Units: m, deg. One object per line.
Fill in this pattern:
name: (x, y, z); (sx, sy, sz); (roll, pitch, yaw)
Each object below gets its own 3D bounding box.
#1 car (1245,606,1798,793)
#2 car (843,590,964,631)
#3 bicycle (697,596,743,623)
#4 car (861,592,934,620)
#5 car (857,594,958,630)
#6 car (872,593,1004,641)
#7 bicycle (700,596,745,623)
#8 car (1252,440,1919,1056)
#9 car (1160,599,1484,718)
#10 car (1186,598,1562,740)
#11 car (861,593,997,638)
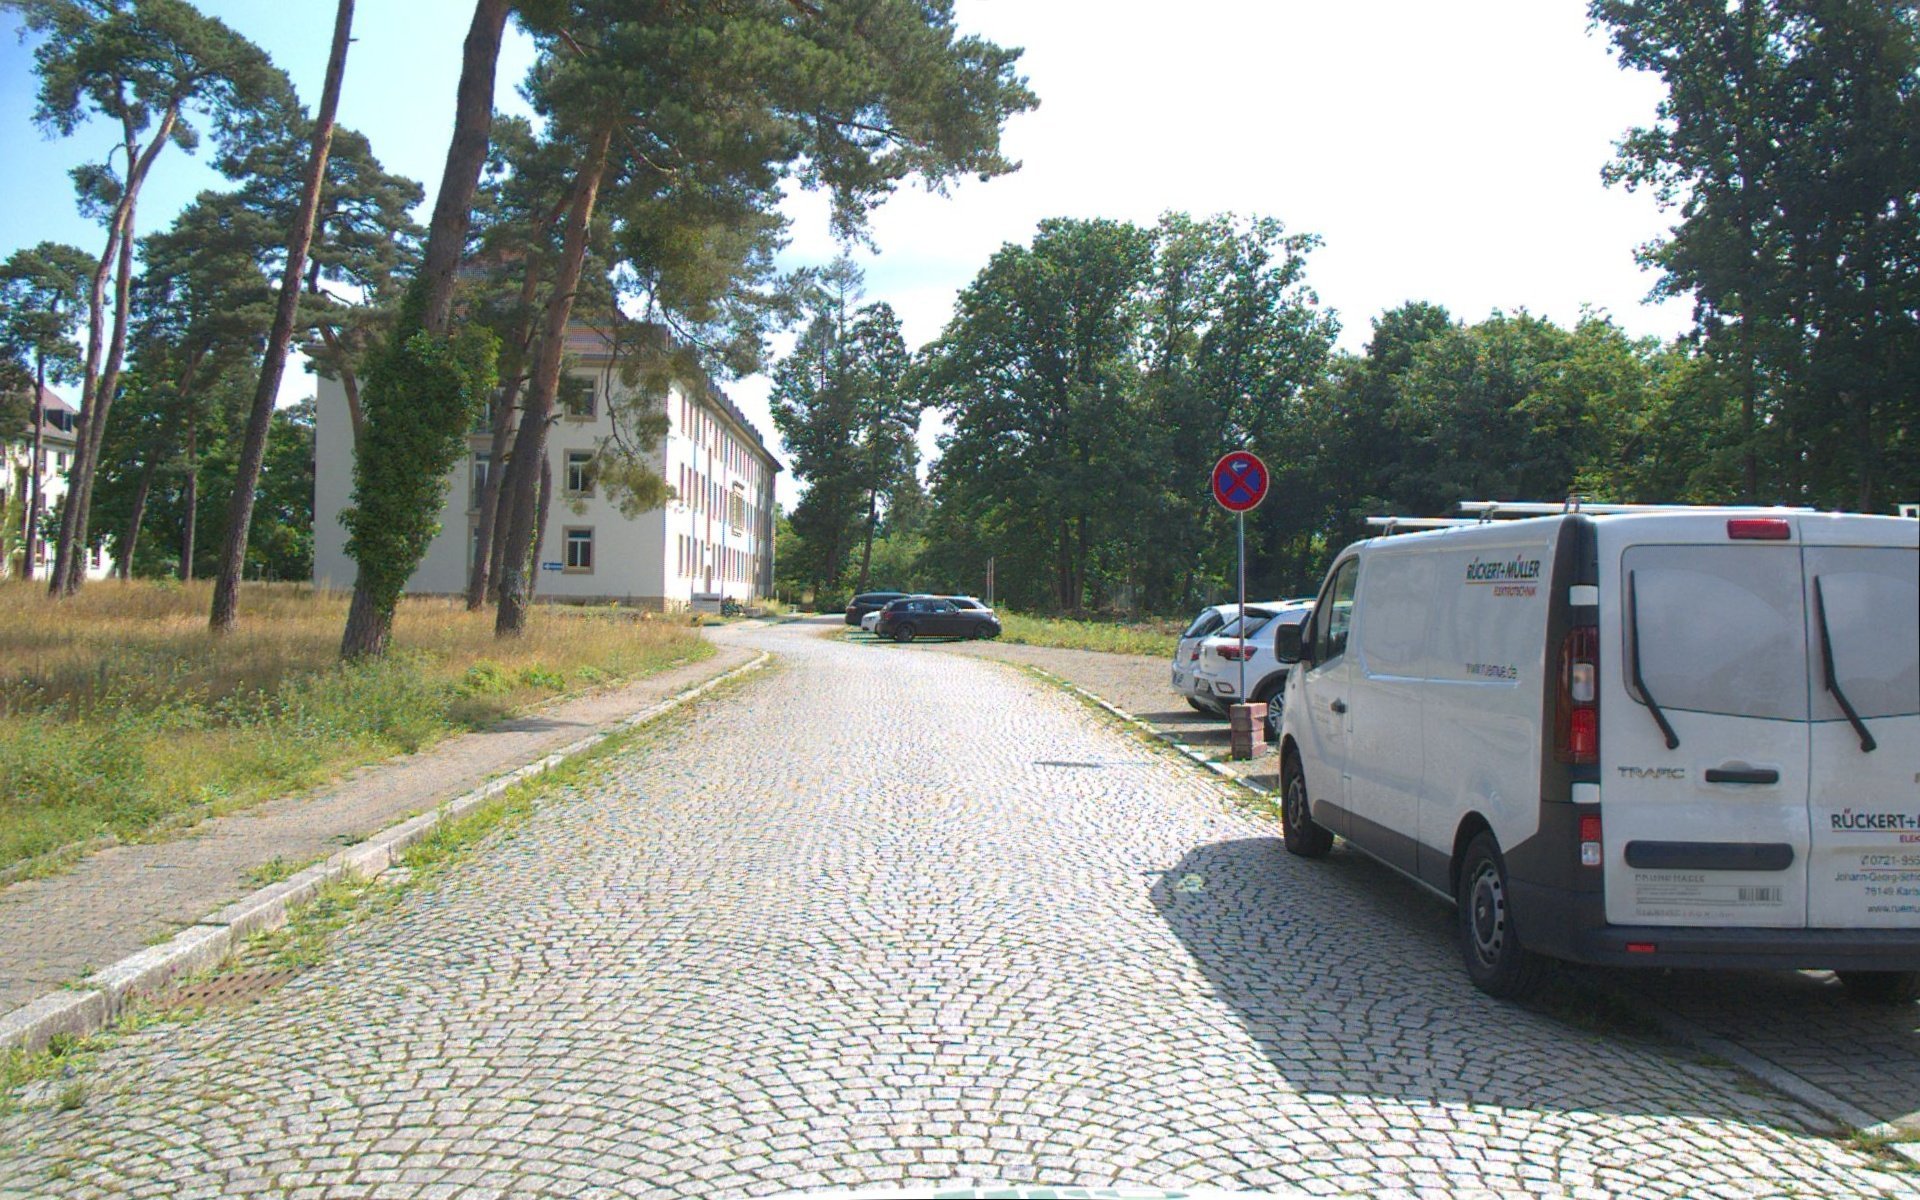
car: (4.925, 0.824, 14.793); (4.368, 1.501, 1.743); (-1, 0, -7)
car: (-2.278, 0.423, 66.185); (4.757, 1.580, 1.878); (0, -1, -4)
bicycle: (-11.867, 0.459, 81.840); (2.175, 1.282, 0.623); (1, 0, 4)
car: (-3.559, 0.354, 94.272); (4.102, 1.570, 1.820); (0, -1, -1)
car: (-2.298, 0.506, 71.501); (4.311, 1.510, 1.764); (0, -1, -4)
car: (-0.760, 0.565, 55.767); (4.246, 1.526, 1.825); (0, 1, -11)
bicycle: (-11.888, 0.475, 82.815); (2.176, 1.282, 0.623); (1, 0, 0)
car: (3.009, 0.514, 8.498); (1.875, 2.089, 5.677); (1, 0, -1)
car: (4.829, 0.754, 22.360); (3.963, 1.489, 1.702); (-1, 0, -5)
car: (4.748, 0.763, 19.290); (3.909, 1.533, 1.745); (-1, 0, -5)
car: (-1.135, 0.540, 58.883); (4.766, 1.498, 1.873); (0, 1, -4)
